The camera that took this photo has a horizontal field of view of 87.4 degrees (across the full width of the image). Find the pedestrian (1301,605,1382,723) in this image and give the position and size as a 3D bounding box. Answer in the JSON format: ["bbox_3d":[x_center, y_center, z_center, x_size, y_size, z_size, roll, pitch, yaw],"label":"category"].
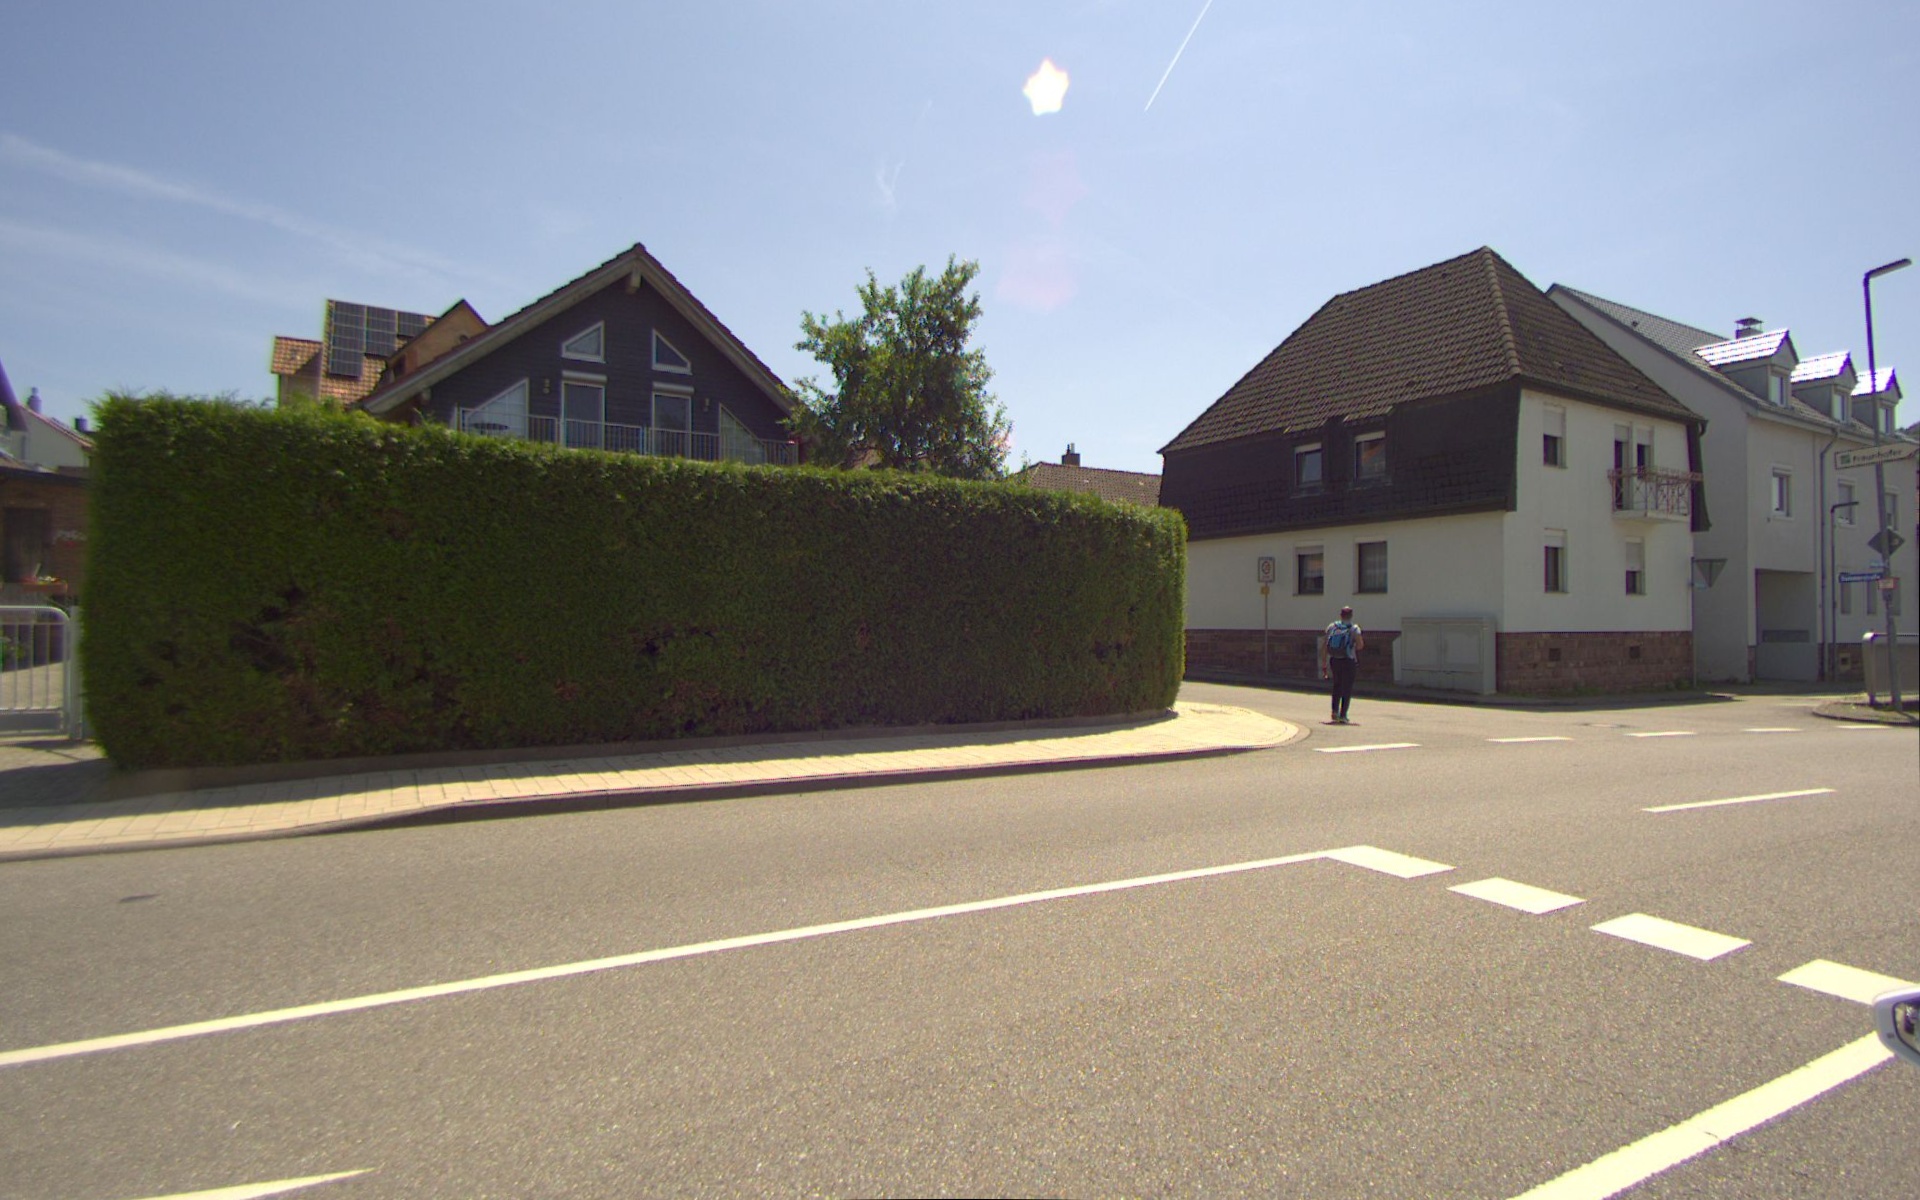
[{"bbox_3d":[5.879,0.983,15.479,0.847,1.751,0.723,4,-1,-32],"label":"pedestrian"}]
